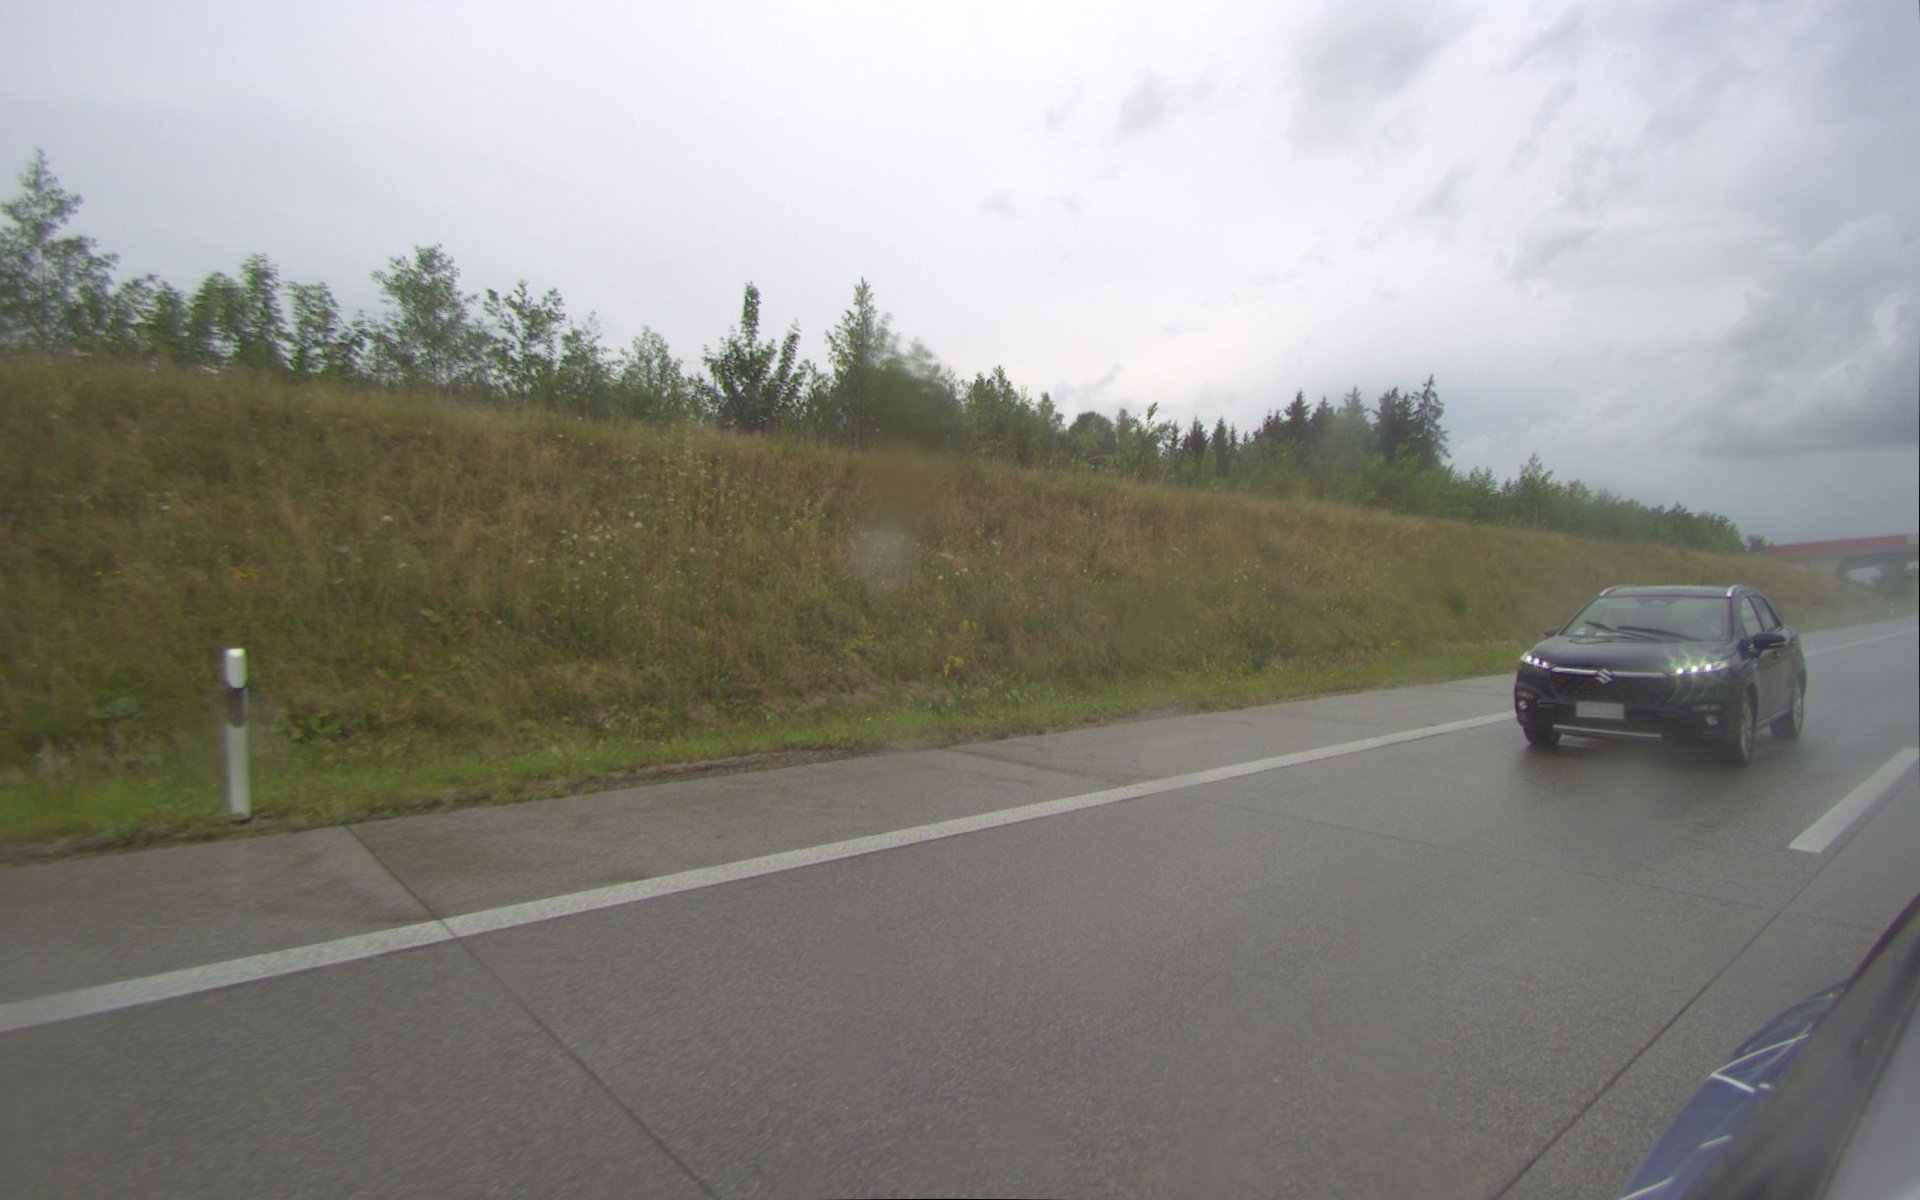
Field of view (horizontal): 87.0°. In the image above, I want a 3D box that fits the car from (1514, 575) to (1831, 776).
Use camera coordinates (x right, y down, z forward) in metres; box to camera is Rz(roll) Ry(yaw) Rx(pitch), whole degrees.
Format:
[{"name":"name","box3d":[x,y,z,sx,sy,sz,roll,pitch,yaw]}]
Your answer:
[{"name":"car","box3d":[7.089,0.599,9.953,3.571,1.596,1.896,0,0,-43]}]
